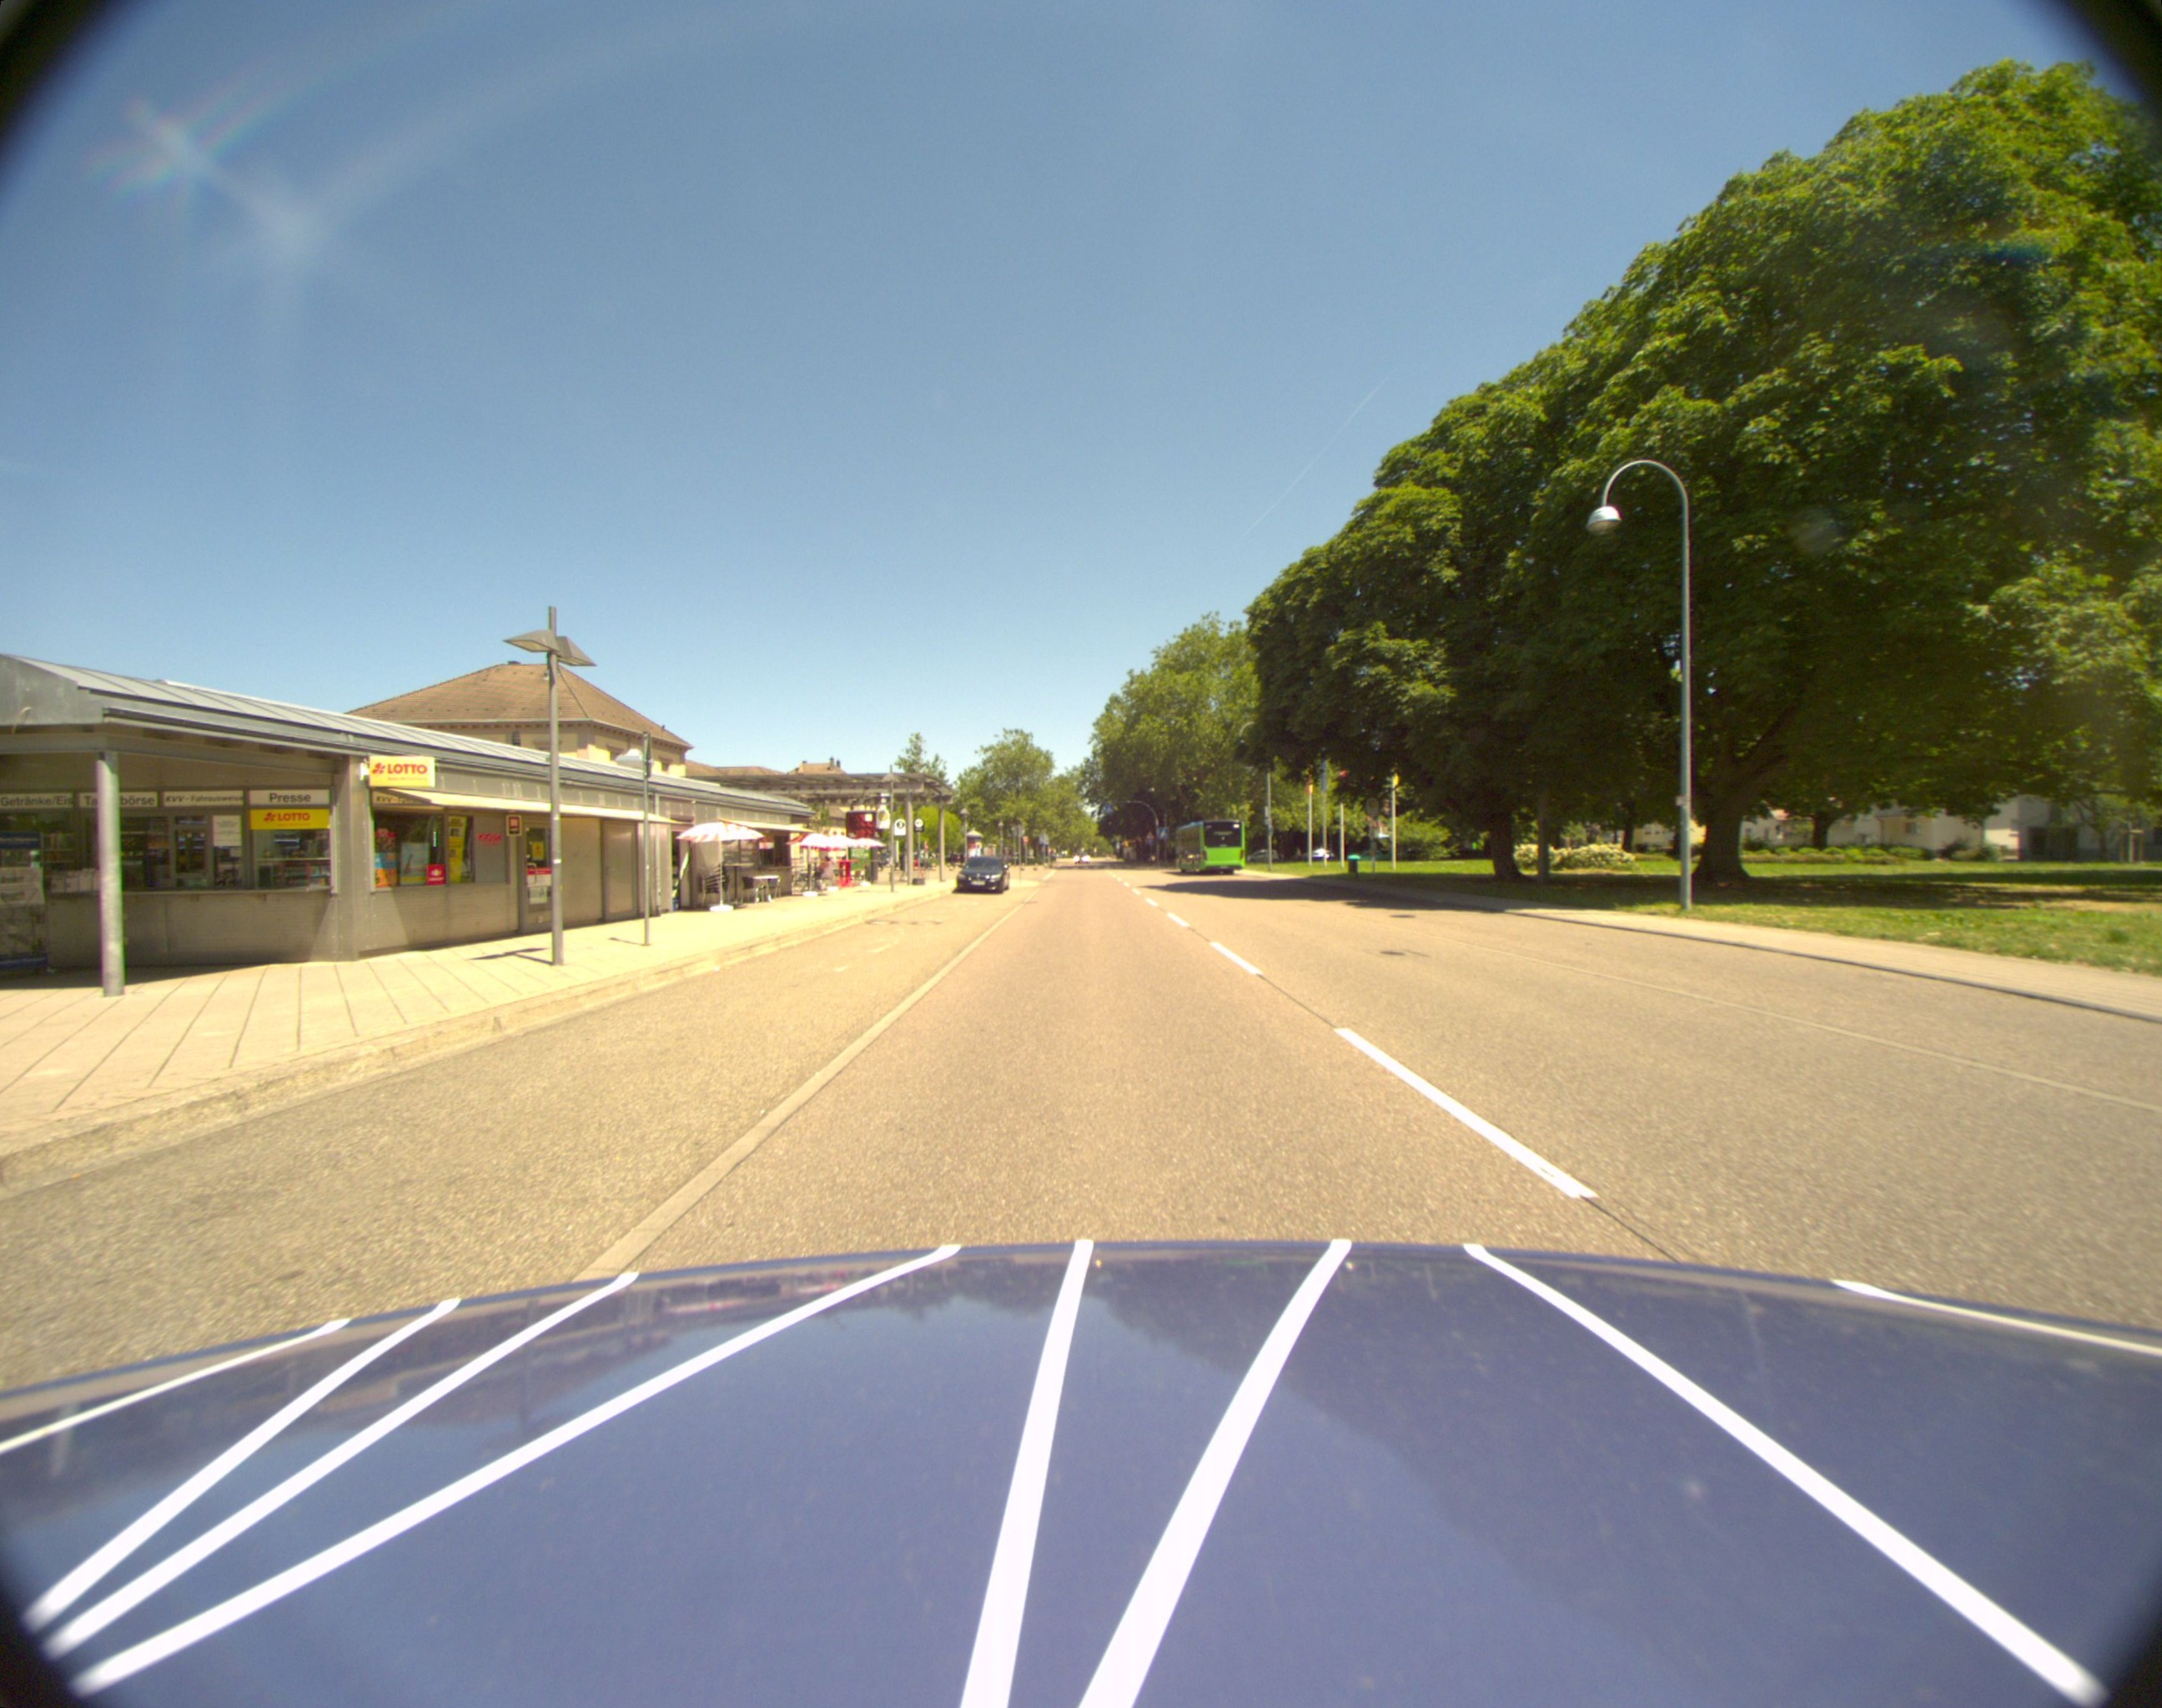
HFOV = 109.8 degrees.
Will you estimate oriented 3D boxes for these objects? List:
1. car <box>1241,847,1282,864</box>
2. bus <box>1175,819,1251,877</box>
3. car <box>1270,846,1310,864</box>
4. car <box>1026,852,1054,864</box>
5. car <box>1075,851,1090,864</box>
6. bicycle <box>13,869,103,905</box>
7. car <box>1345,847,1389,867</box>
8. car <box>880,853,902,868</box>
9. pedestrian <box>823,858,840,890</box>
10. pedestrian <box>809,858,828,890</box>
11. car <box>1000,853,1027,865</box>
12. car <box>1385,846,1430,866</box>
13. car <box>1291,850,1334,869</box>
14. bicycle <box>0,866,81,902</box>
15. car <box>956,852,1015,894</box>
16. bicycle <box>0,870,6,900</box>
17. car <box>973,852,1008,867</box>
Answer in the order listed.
[{"bbox_3d":[19.381,0.158,81.854,3.996,1.793,2.000,-1,1,3],"label":"car"},{"bbox_3d":[8.303,-0.388,49.540,2.814,3.283,11.856,-1,0,0],"label":"bus"},{"bbox_3d":[23.889,0.120,86.874,3.988,2.002,2.004,-1,1,36],"label":"car"},{"bbox_3d":[-6.012,0.591,111.179,3.999,1.655,1.999,-1,1,-6],"label":"car"},{"bbox_3d":[0.230,0.431,91.106,1.778,1.536,4.183,1,0,1],"label":"car"},{"bbox_3d":[-33.951,1.080,25.233,2.167,1.068,0.670,1,4,4],"label":"bicycle"},{"bbox_3d":[30.646,0.312,81.473,3.997,2.002,2.000,-1,1,0],"label":"car"},{"bbox_3d":[-26.273,0.845,105.047,1.998,2.002,4.000,-1,1,1],"label":"car"},{"bbox_3d":[-9.633,0.768,29.304,0.504,1.225,0.513,-1,1,-5],"label":"pedestrian"},{"bbox_3d":[-10.046,0.763,29.078,0.489,1.204,0.472,-1,1,7],"label":"pedestrian"},{"bbox_3d":[-10.333,0.747,115.544,3.999,1.655,1.999,-1,1,-6],"label":"car"},{"bbox_3d":[35.006,0.207,81.568,3.997,2.002,2.000,-1,1,0],"label":"car"},{"bbox_3d":[24.767,0.587,81.302,3.996,2.002,2.000,-1,1,3],"label":"car"},{"bbox_3d":[-37.461,1.042,27.059,0.670,1.068,2.169,1,4,4],"label":"bicycle"},{"bbox_3d":[-3.802,0.729,30.931,1.778,1.536,4.183,1,0,1],"label":"car"},{"bbox_3d":[-39.084,1.087,26.552,2.167,1.068,0.670,1,4,4],"label":"bicycle"},{"bbox_3d":[-10.962,0.663,92.157,3.998,1.655,1.999,-1,1,-3],"label":"car"}]
